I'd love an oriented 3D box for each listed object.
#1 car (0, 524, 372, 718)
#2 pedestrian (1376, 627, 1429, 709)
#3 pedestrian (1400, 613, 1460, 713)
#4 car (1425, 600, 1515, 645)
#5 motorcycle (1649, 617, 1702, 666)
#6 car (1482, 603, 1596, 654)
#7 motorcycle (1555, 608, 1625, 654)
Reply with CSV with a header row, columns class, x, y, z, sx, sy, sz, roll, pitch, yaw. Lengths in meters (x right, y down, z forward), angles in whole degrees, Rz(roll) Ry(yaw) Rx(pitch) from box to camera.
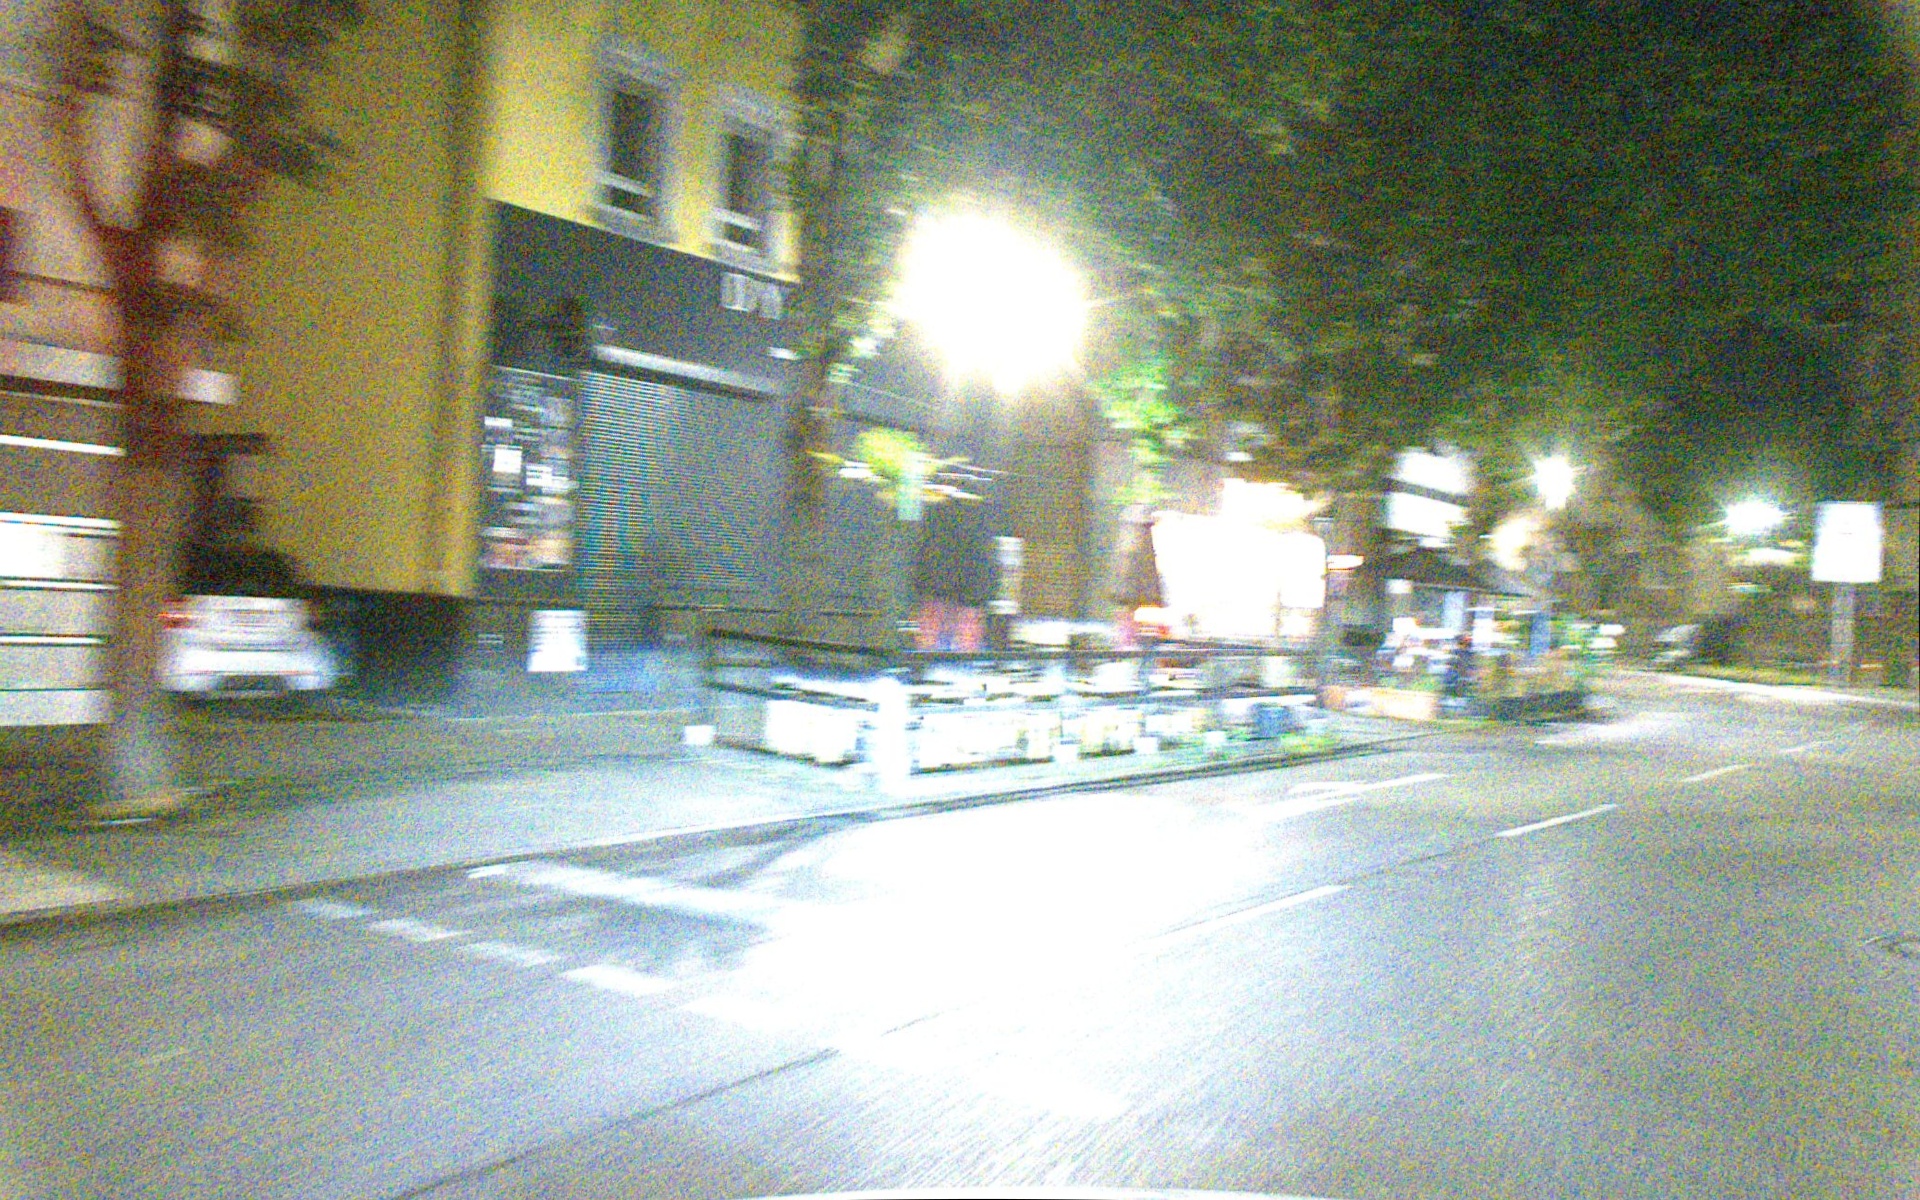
class,x,y,z,sx,sy,sz,roll,pitch,yaw
car,-7.597,0.131,15.746,3.920,1.553,1.813,3,1,35
pedestrian,6.705,1.018,25.059,0.564,1.184,0.677,3,0,30
pedestrian,6.866,0.910,24.140,0.663,1.402,0.575,3,0,30
car,19.113,0.837,62.173,1.703,1.479,3.994,2,1,-7
motorcycle,21.270,1.235,49.120,0.750,1.376,1.930,3,1,45
car,19.930,0.955,57.121,1.701,1.527,4.456,2,1,-10
motorcycle,20.695,1.024,54.364,2.021,1.430,0.919,1,1,-19
